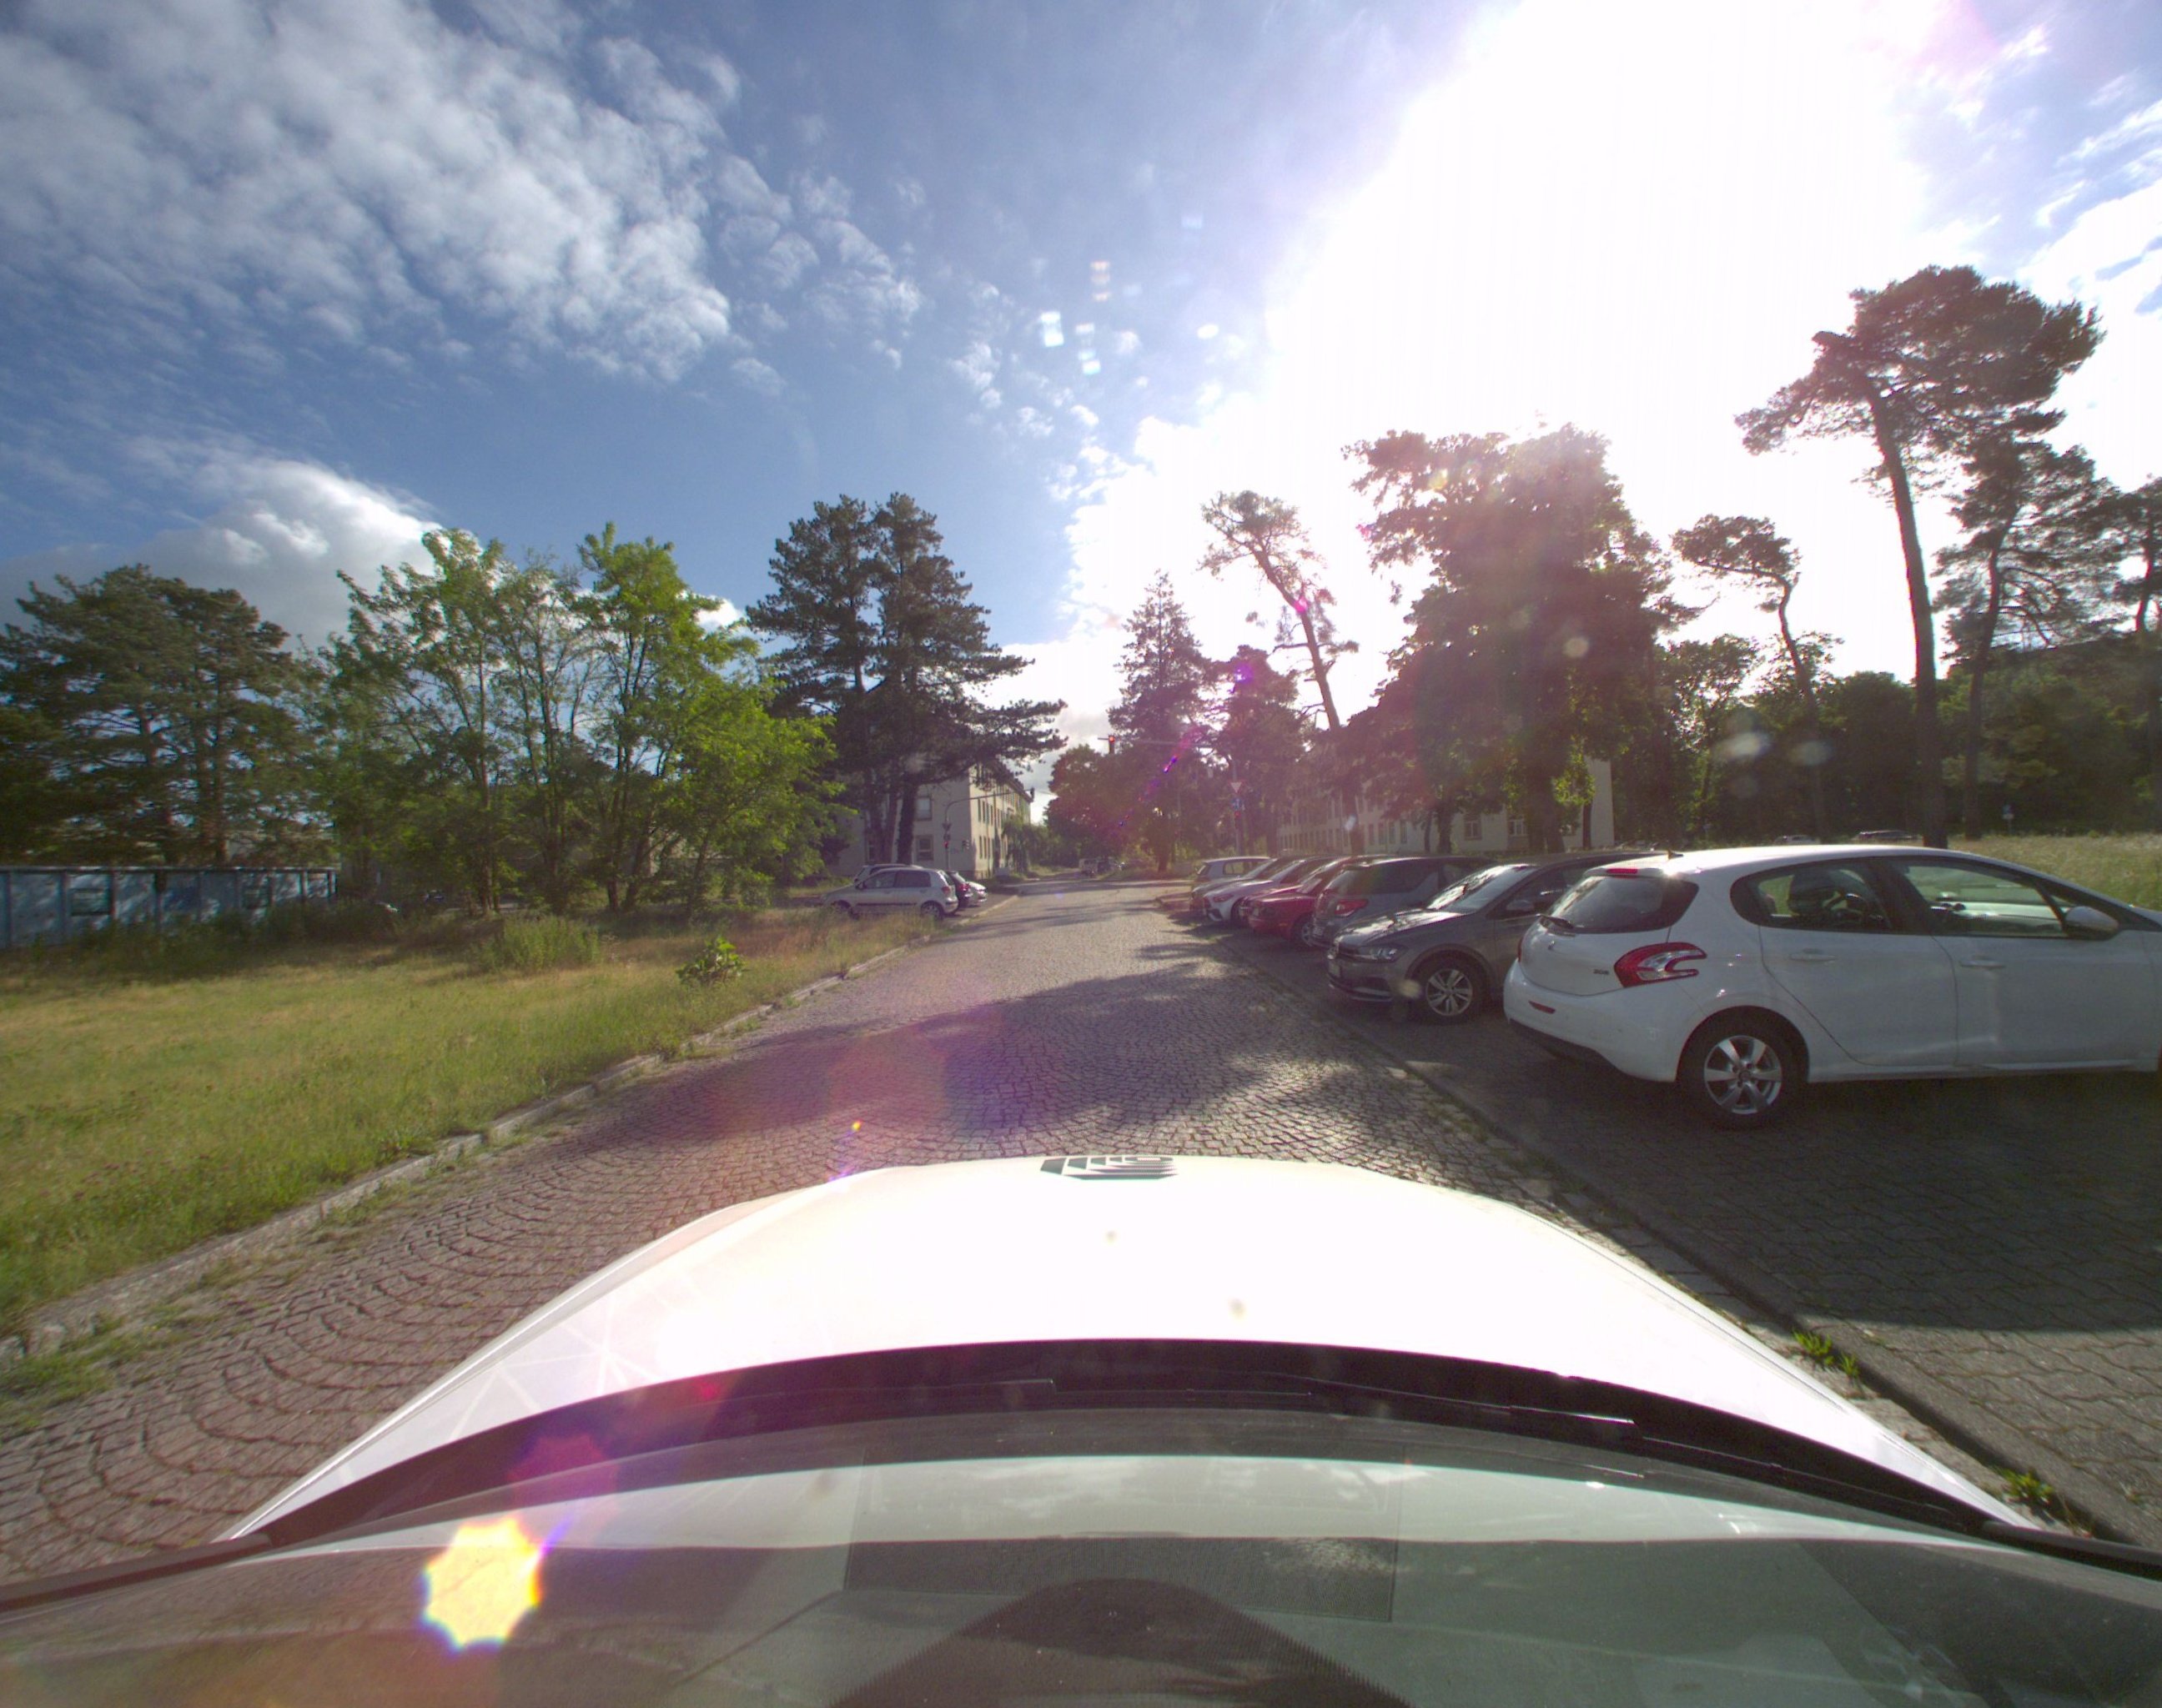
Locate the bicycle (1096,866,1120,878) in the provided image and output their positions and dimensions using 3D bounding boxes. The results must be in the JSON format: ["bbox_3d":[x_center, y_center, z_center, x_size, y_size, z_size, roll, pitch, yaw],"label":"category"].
[{"bbox_3d":[2.398,1.584,72.540,2.107,1.010,0.619,0,-1,-7],"label":"bicycle"}]

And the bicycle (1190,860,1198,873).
[{"bbox_3d":[8.385,0.955,60.330,0.300,0.961,1.584,0,-1,-2],"label":"bicycle"}]

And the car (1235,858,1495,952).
[{"bbox_3d":[4.602,0.802,13.599,3.694,1.223,1.747,-4,0,1],"label":"car"}]

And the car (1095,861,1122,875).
[{"bbox_3d":[2.926,1.521,86.936,2.776,1.467,1.669,0,-1,-4],"label":"car"}]

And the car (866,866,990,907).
[{"bbox_3d":[-5.679,1.197,30.619,4.322,1.468,1.829,0,0,-3],"label":"car"}]

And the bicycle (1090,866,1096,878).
[{"bbox_3d":[1.014,1.519,68.874,0.466,1.010,1.584,0,-1,-3],"label":"bicycle"}]

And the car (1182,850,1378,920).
[{"bbox_3d":[4.979,0.757,20.796,4.543,1.415,1.637,-4,0,1],"label":"car"}]

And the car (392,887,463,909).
[{"bbox_3d":[-47.454,3.170,59.243,1.895,1.433,4.001,-2,-1,1],"label":"car"}]

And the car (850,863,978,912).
[{"bbox_3d":[-5.709,1.134,28.196,4.070,1.593,1.884,0,0,-3],"label":"car"}]

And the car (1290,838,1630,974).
[{"bbox_3d":[4.927,0.645,10.996,3.695,1.449,1.816,-4,0,0],"label":"car"}]

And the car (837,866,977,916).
[{"bbox_3d":[-5.330,1.118,25.321,3.977,1.480,1.802,0,0,-3],"label":"car"}]

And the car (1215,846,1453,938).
[{"bbox_3d":[4.841,0.710,15.998,4.113,1.449,1.637,-4,0,1],"label":"car"}]

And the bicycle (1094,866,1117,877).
[{"bbox_3d":[2.224,1.617,74.174,2.002,1.010,0.630,0,-1,-7],"label":"bicycle"}]

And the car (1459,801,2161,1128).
[{"bbox_3d":[4.704,0.572,5.208,3.694,1.534,1.761,-4,0,1],"label":"car"}]

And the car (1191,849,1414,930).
[{"bbox_3d":[4.796,0.746,18.081,4.416,1.415,1.781,-4,0,1],"label":"car"}]

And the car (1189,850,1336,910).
[{"bbox_3d":[5.179,0.726,23.575,3.868,1.415,1.637,-4,0,1],"label":"car"}]

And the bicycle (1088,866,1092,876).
[{"bbox_3d":[0.883,1.743,82.124,0.416,1.010,1.483,0,-1,2],"label":"bicycle"}]

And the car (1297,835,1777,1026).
[{"bbox_3d":[4.274,0.678,8.132,3.694,1.449,1.857,-4,0,1],"label":"car"}]

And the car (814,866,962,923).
[{"bbox_3d":[-5.296,1.094,22.722,3.737,1.487,1.644,0,0,-3],"label":"car"}]

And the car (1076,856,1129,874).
[{"bbox_3d":[2.422,1.197,90.531,5.535,2.014,1.988,0,-1,-18],"label":"car"}]

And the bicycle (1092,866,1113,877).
[{"bbox_3d":[2.002,1.653,75.931,1.836,1.010,0.634,0,-1,-7],"label":"bicycle"}]
